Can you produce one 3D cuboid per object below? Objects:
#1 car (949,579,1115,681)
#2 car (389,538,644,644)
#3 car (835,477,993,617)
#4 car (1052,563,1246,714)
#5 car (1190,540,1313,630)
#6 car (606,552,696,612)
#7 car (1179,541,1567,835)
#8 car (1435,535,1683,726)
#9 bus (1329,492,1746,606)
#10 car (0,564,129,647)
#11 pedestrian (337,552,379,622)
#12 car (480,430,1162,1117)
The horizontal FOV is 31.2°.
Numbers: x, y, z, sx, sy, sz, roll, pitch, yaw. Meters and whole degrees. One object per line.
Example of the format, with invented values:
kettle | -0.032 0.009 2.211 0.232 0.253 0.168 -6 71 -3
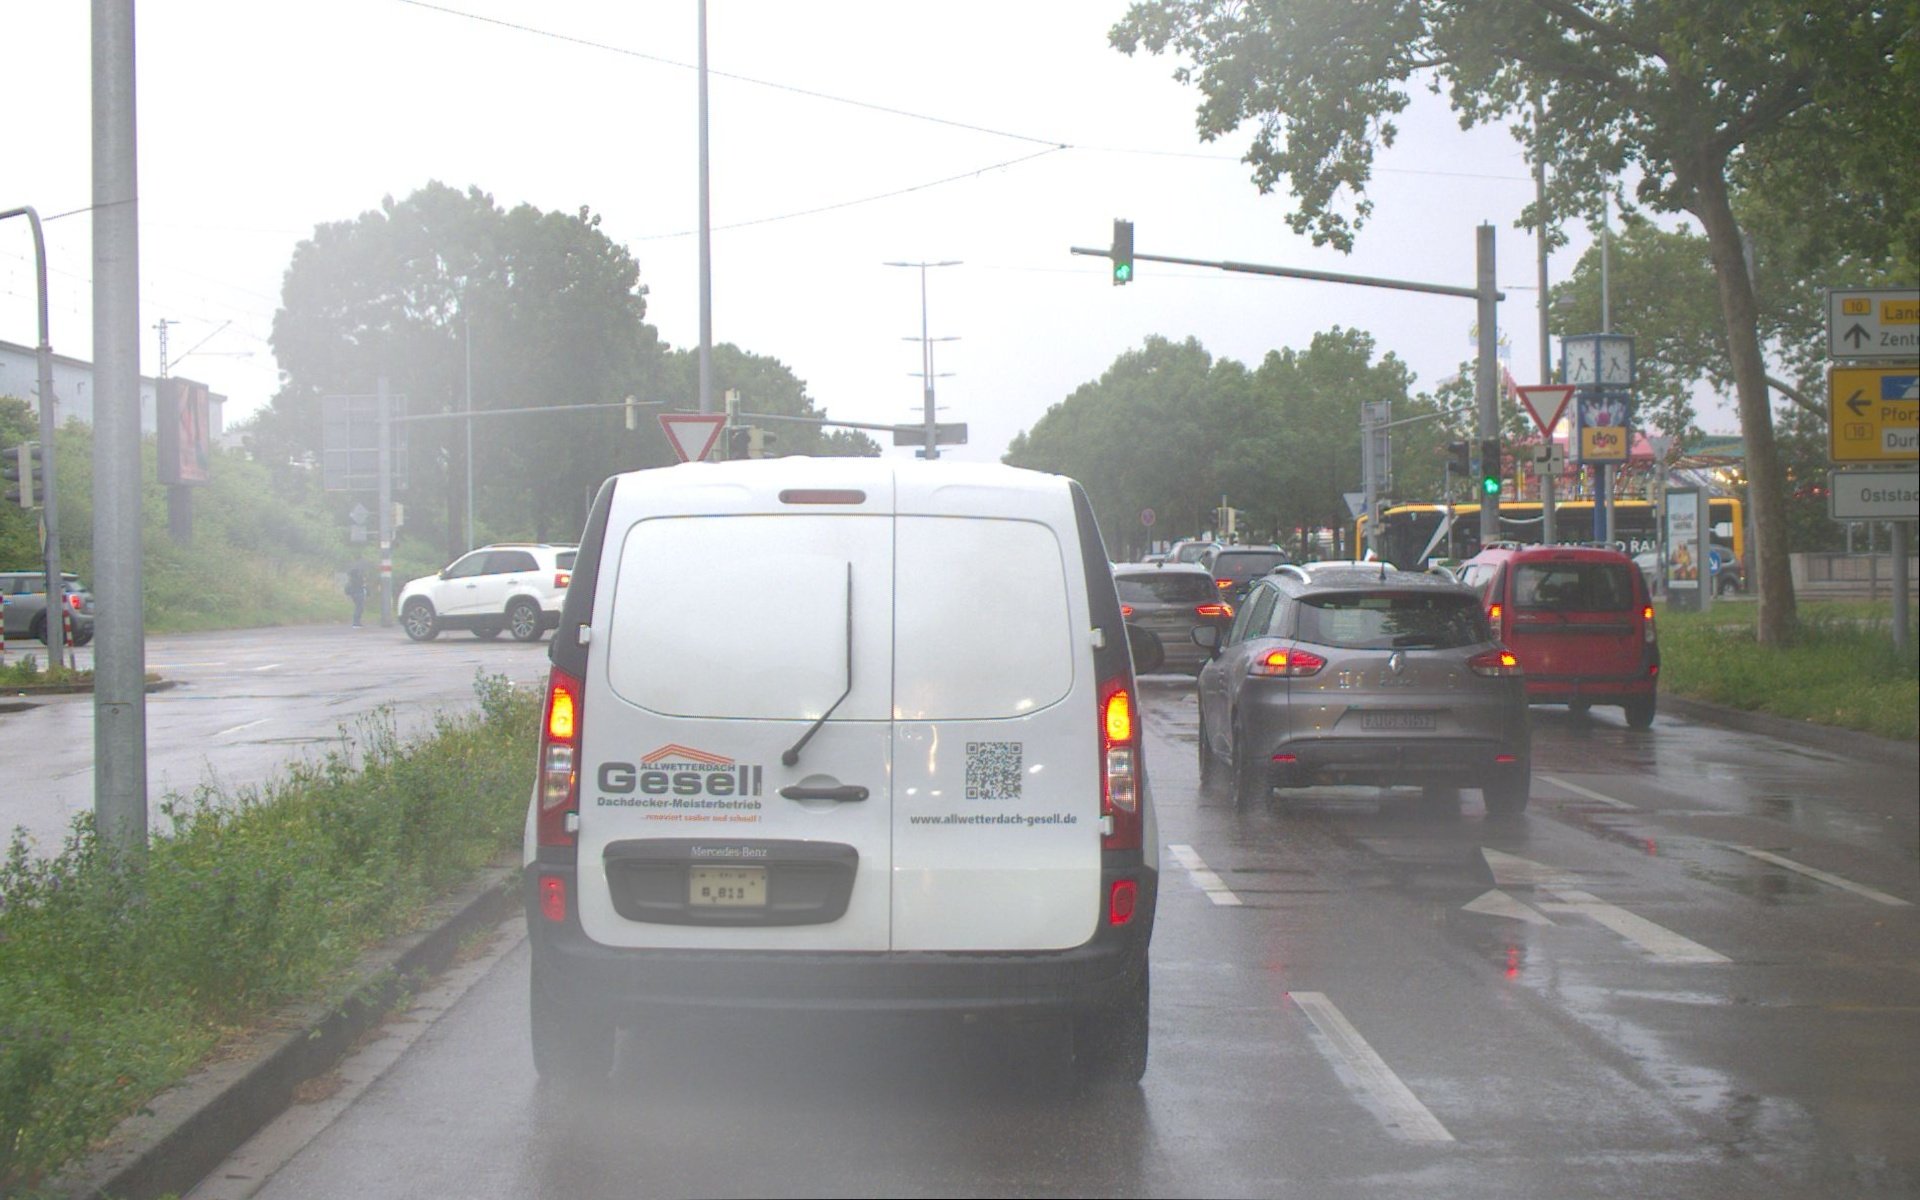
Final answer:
car | 1.182 0.481 58.075 1.993 1.613 3.945 -1 1 -11
car | -8.037 -0.159 62.142 4.436 1.839 1.996 0 1 38
car | -0.741 -0.817 51.520 1.993 1.949 4.821 -2 2 -5
car | 2.178 0.414 40.605 1.835 1.650 4.001 1 1 -3
car | 5.275 -0.304 62.616 1.993 1.568 4.000 0 1 2
car | -8.822 -0.534 98.436 2.022 1.651 4.061 -1 1 3
car | 2.433 0.472 21.184 1.842 1.612 4.000 1 1 -1
car | 5.514 0.246 32.008 1.632 1.650 3.485 1 1 -1
bus | 17.725 -1.570 106.086 12.249 3.257 3.275 -1 1 -1
car | -17.908 0.114 65.070 3.886 1.511 1.808 -1 1 1
pedestrian | -15.081 -0.331 86.164 1.001 1.713 0.820 -1 1 -8
car | -0.384 0.426 10.940 1.756 1.771 4.000 1 1 -1
